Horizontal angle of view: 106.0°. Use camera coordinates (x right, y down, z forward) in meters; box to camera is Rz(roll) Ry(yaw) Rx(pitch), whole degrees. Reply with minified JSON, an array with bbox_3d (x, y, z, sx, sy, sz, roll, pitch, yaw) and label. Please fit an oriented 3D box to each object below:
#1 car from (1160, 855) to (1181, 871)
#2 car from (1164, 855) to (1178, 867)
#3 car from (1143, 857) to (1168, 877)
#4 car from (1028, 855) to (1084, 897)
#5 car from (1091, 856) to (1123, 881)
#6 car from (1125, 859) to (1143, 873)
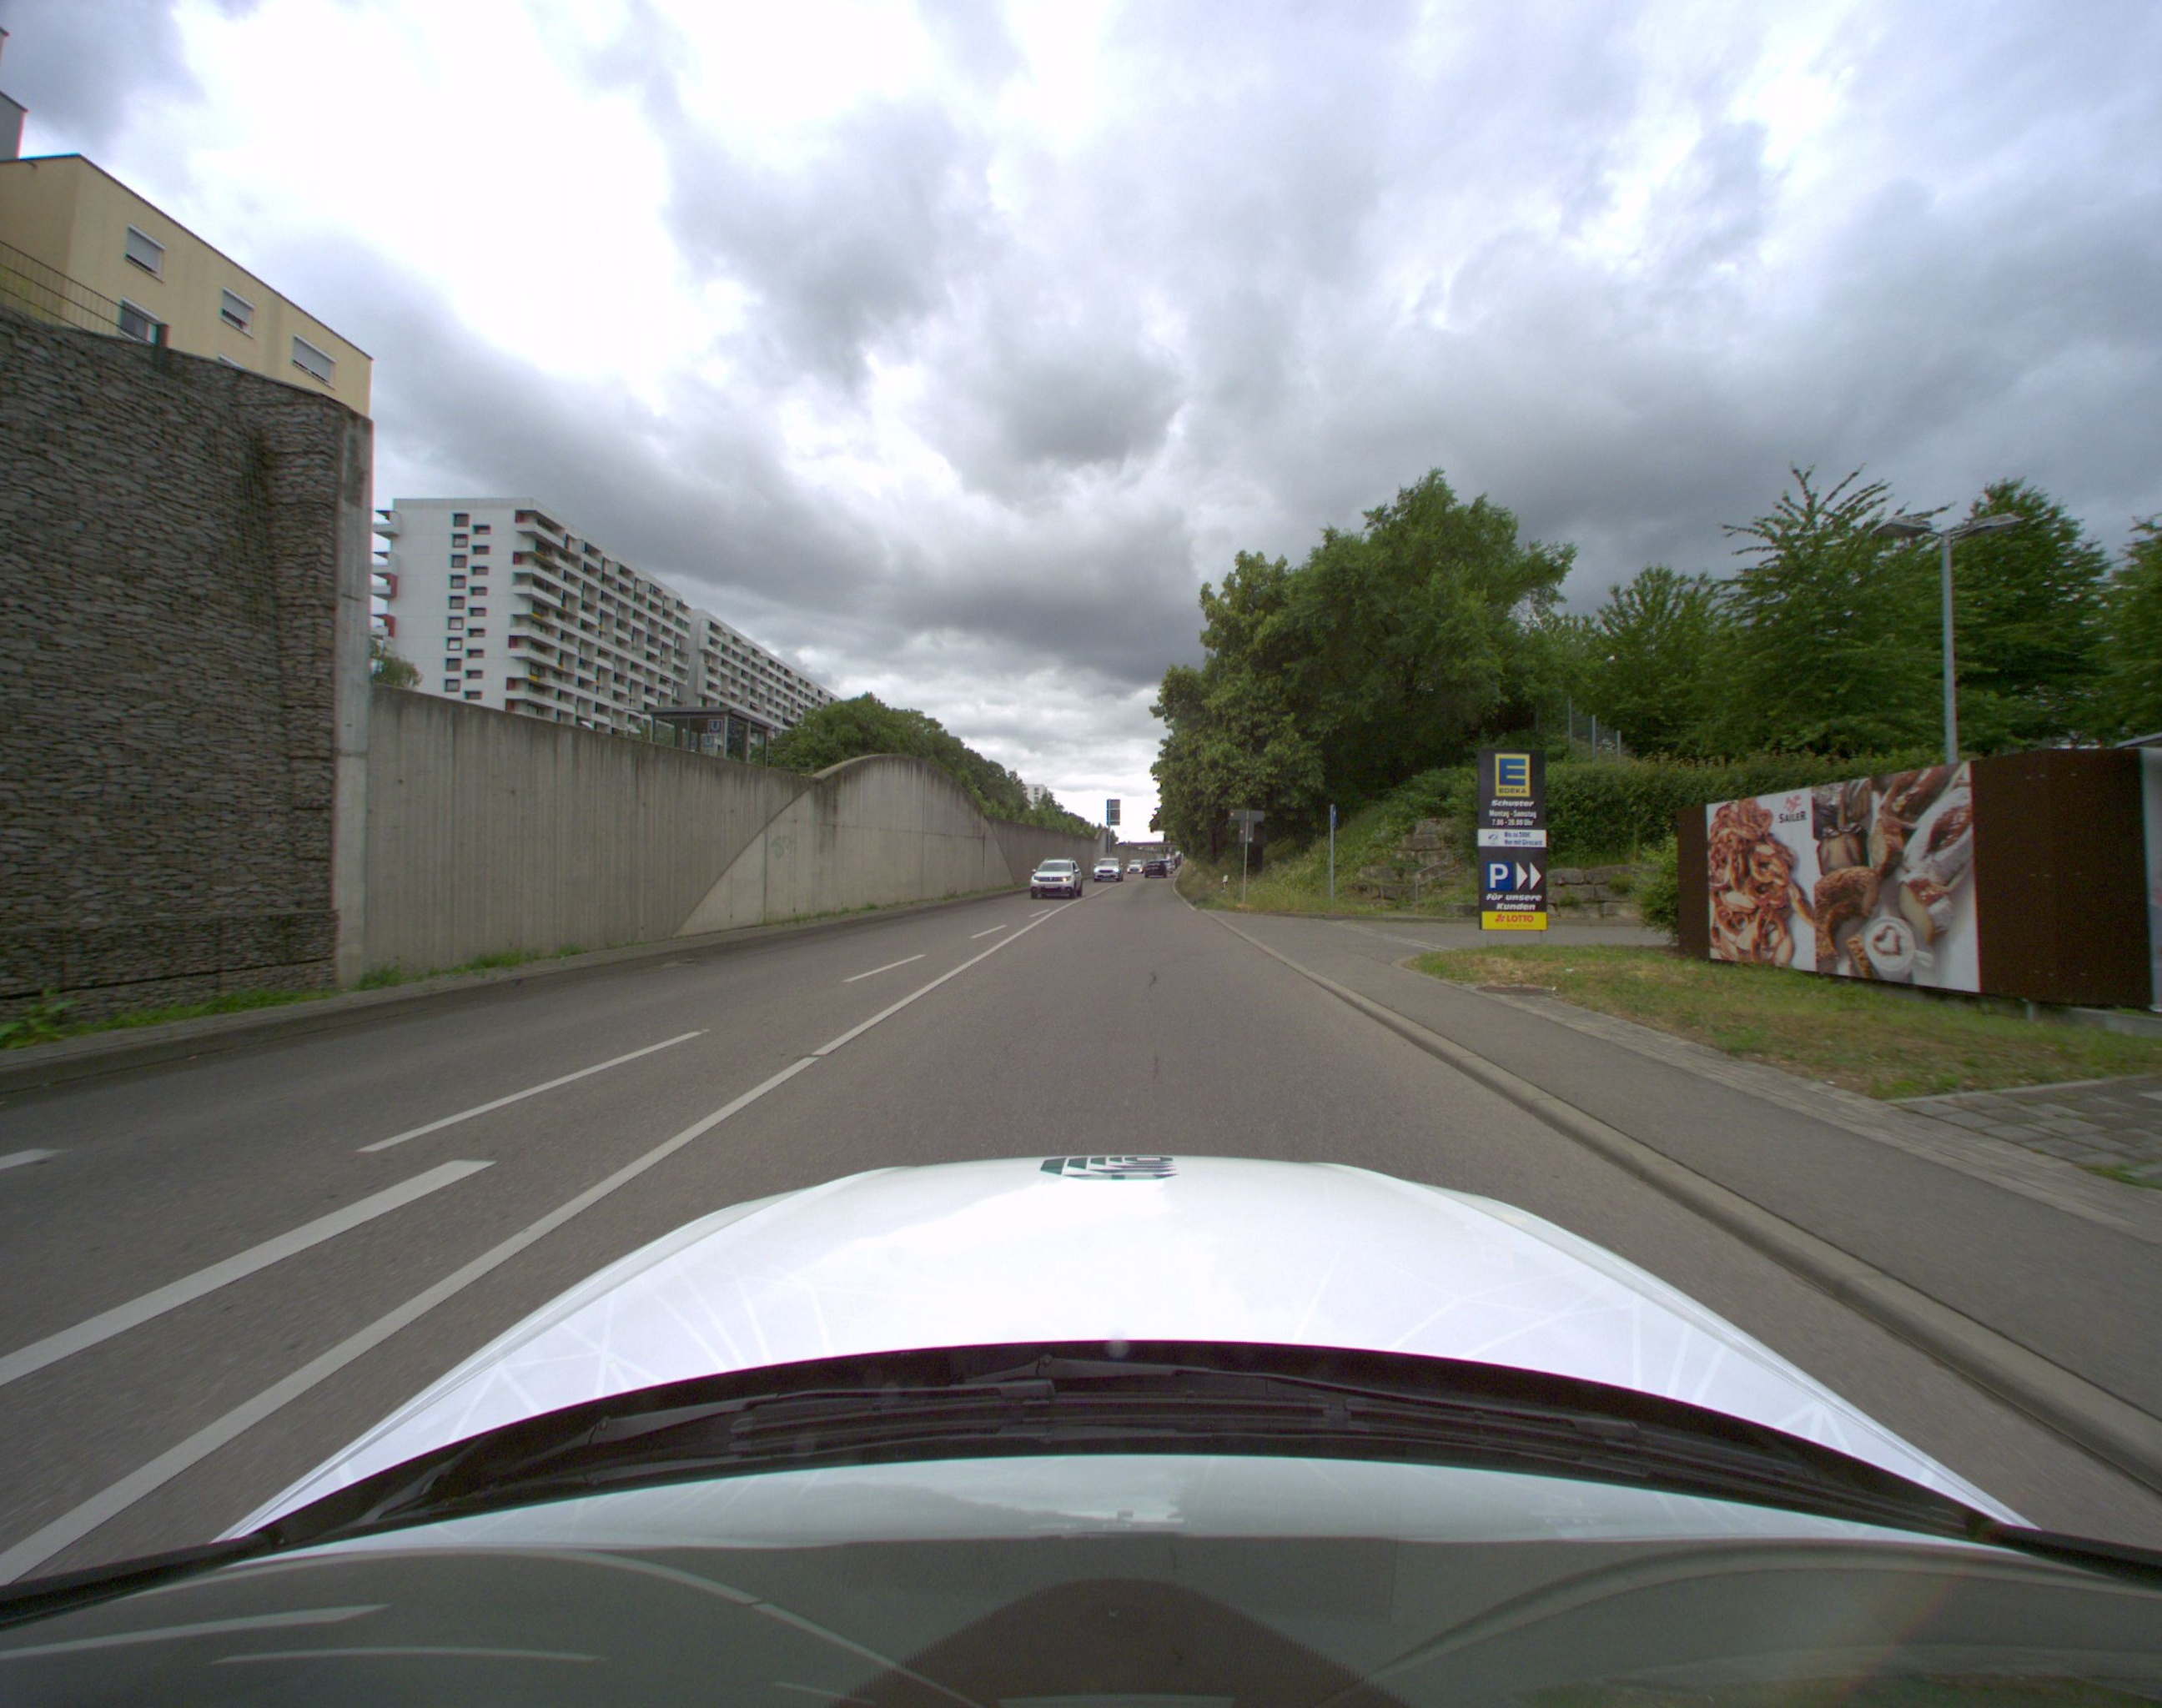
[{"bbox_3d":[9.246,0.968,83.933,1.743,1.523,4.047,2,-2,10],"label":"car"},{"bbox_3d":[12.025,0.988,109.074,1.857,1.490,4.263,2,-1,6],"label":"car"},{"bbox_3d":[6.189,1.123,67.378,1.744,1.523,4.046,-3,-3,9],"label":"car"},{"bbox_3d":[-0.972,0.893,34.162,1.853,1.632,4.213,0,0,5],"label":"car"},{"bbox_3d":[1.852,0.986,57.056,1.880,1.632,4.434,0,0,6],"label":"car"},{"bbox_3d":[5.851,1.266,89.055,1.906,1.495,4.213,0,0,5],"label":"car"}]
